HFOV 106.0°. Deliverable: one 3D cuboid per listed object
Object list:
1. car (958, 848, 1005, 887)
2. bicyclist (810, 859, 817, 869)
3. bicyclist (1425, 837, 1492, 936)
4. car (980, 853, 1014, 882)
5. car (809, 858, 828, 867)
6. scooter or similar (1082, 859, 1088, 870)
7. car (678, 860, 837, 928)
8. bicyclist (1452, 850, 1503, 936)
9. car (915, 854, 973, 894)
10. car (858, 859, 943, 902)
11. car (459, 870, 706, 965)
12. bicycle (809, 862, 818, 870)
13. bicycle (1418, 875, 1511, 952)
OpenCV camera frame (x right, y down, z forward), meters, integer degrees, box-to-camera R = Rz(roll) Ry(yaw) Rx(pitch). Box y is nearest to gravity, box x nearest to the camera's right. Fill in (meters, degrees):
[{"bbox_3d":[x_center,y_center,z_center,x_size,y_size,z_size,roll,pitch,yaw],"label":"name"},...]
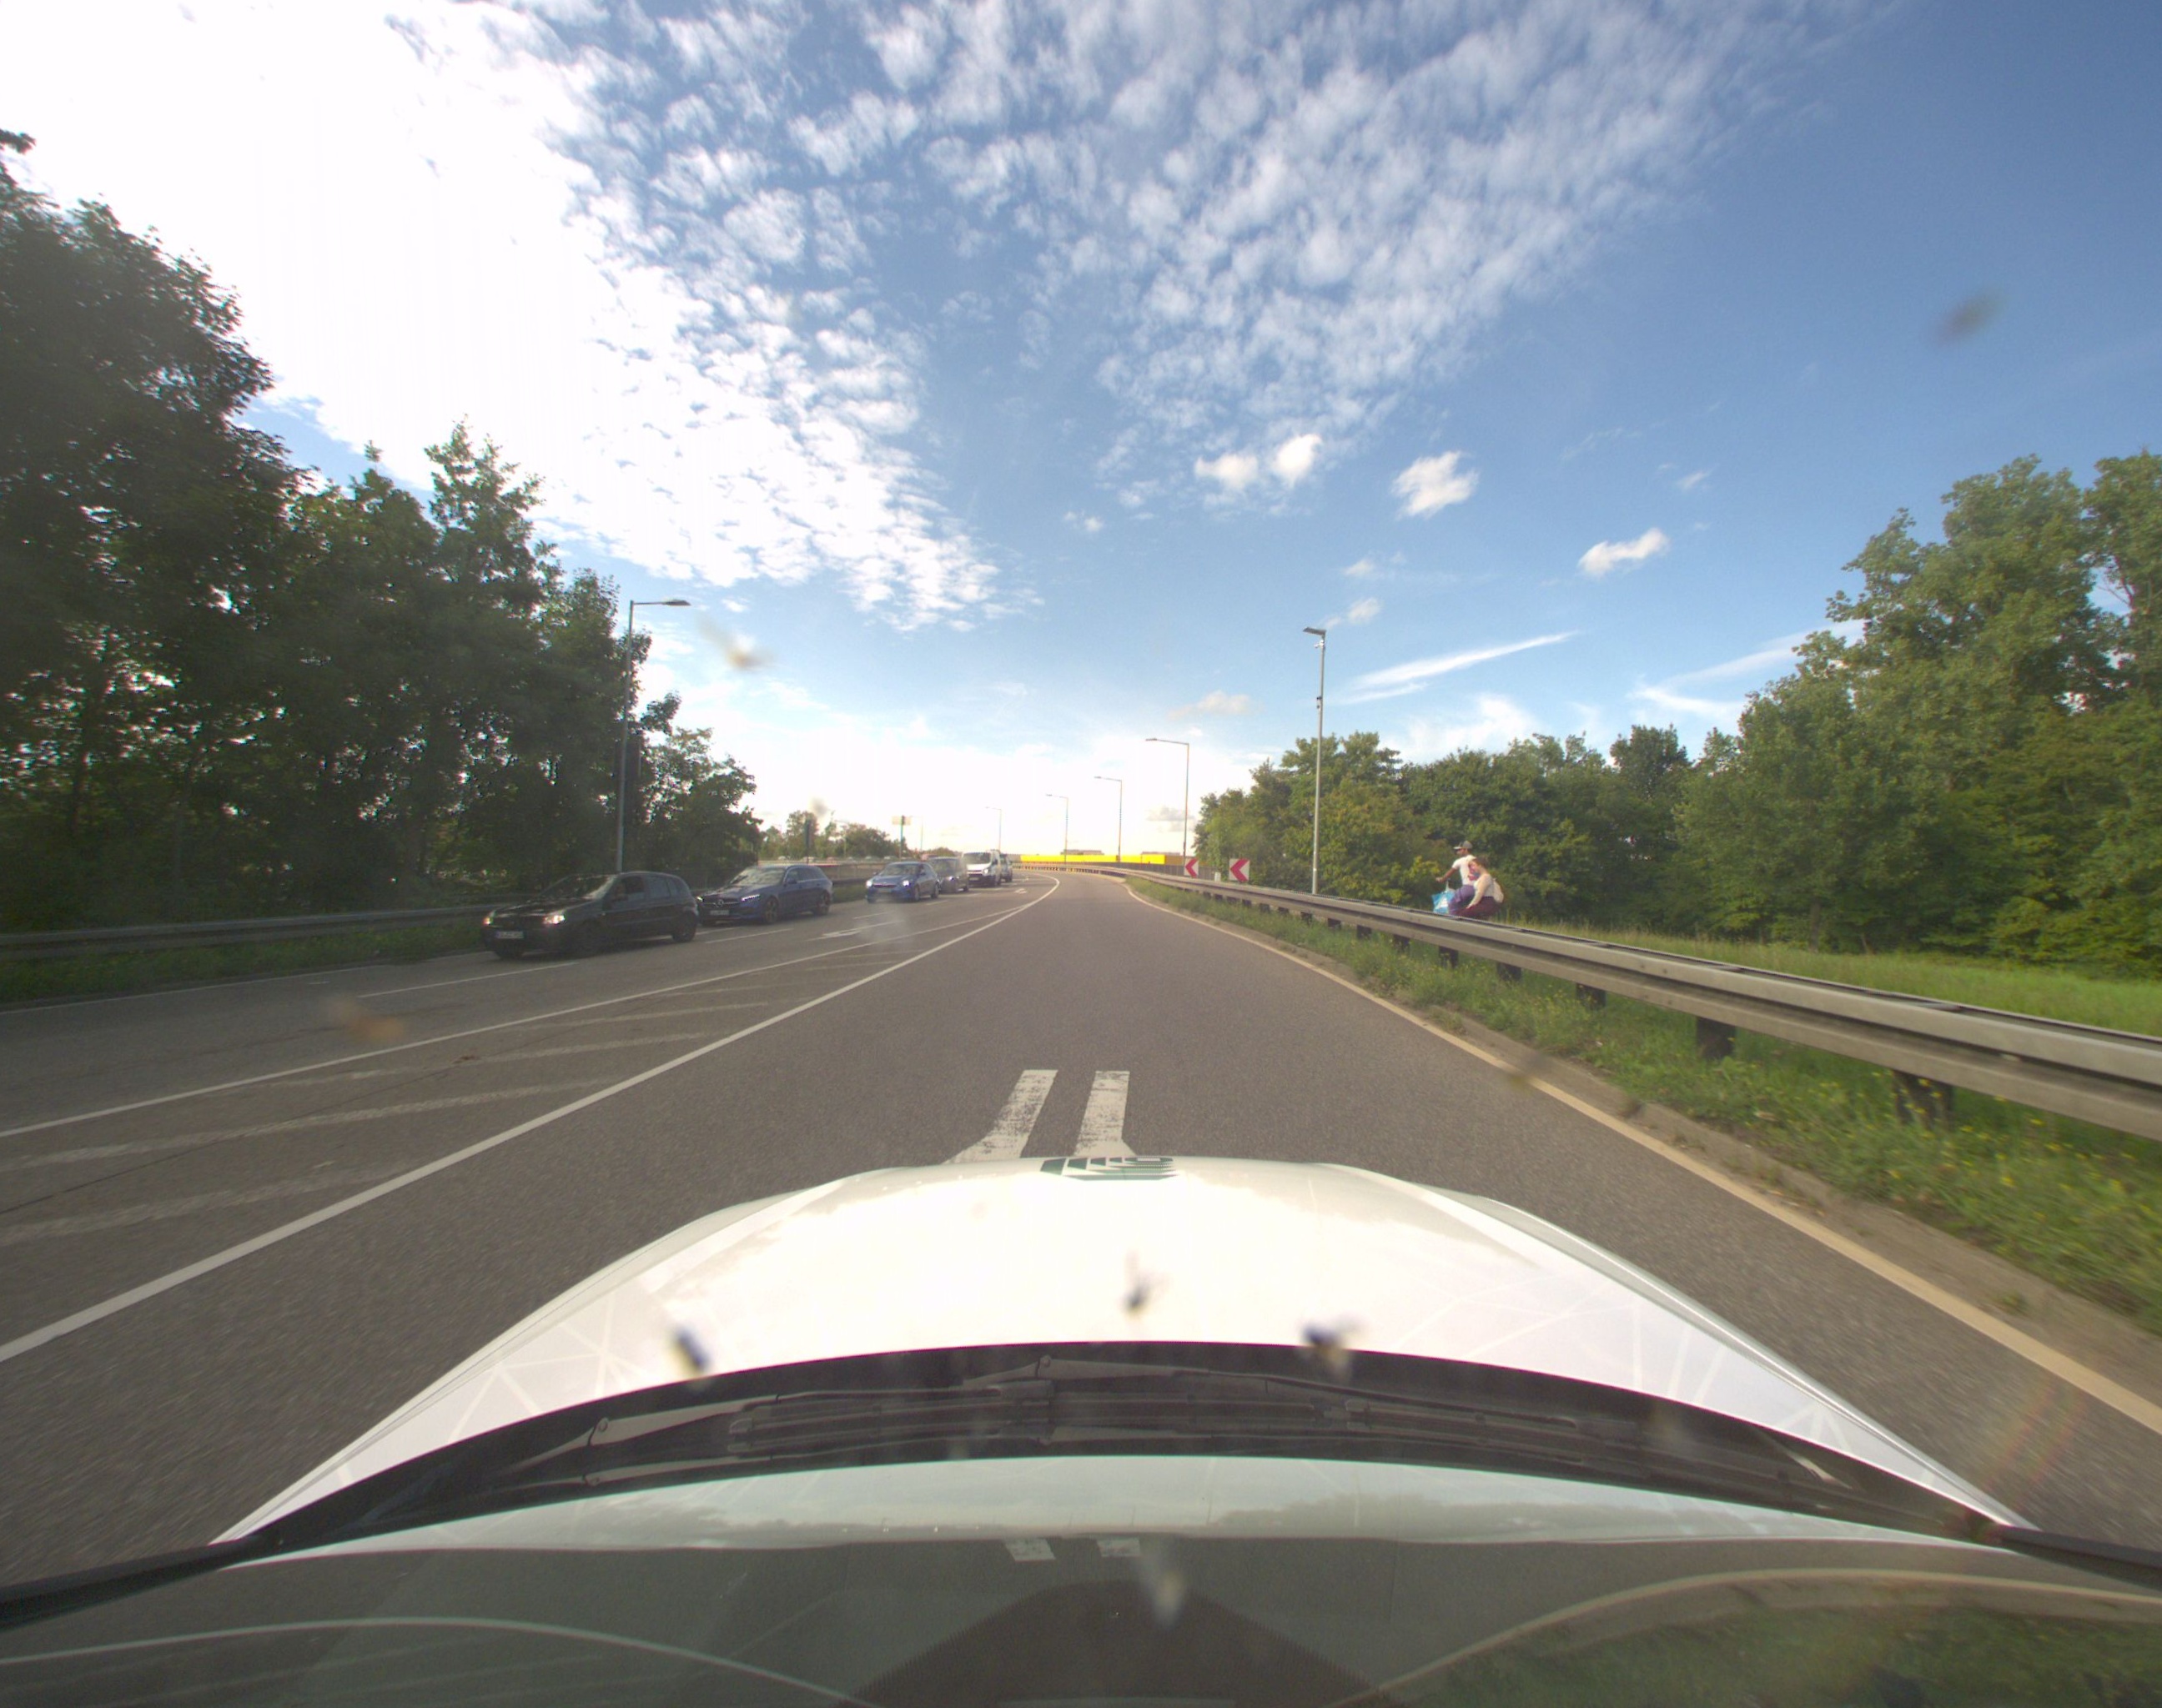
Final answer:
[{"bbox_3d":[-5.374,0.697,44.530,1.979,1.964,5.046,-1,0,0],"label":"car"},{"bbox_3d":[-47.270,1.755,143.872,0.773,1.660,1.106,0,-1,-44],"label":"bicyclist"},{"bbox_3d":[6.095,0.513,13.180,0.706,1.557,0.753,0,-1,-4],"label":"bicyclist"},{"bbox_3d":[-5.234,0.828,51.169,1.768,1.746,3.836,-1,0,-1],"label":"car"},{"bbox_3d":[-48.970,1.615,151.852,3.789,1.746,1.790,-1,0,45],"label":"car"},{"bbox_3d":[0.415,1.114,85.825,0.266,1.162,1.183,0,-1,-14],"label":"scooter or similar"},{"bbox_3d":[-8.194,0.942,21.185,1.805,1.520,4.772,-1,0,6],"label":"car"},{"bbox_3d":[6.123,0.592,12.599,0.499,1.301,0.538,0,-1,-4],"label":"bicyclist"},{"bbox_3d":[-6.124,0.851,36.884,1.739,1.654,4.455,-1,0,2],"label":"car"},{"bbox_3d":[-6.596,0.936,30.254,1.884,1.447,4.366,-1,0,4],"label":"car"},{"bbox_3d":[-8.566,1.009,14.425,1.614,1.365,3.784,-1,0,10],"label":"car"},{"bbox_3d":[-47.212,2.118,143.812,0.771,1.332,1.893,0,-1,-43],"label":"bicycle"},{"bbox_3d":[6.102,0.919,13.066,0.594,1.120,1.694,0,-1,-4],"label":"bicycle"}]
